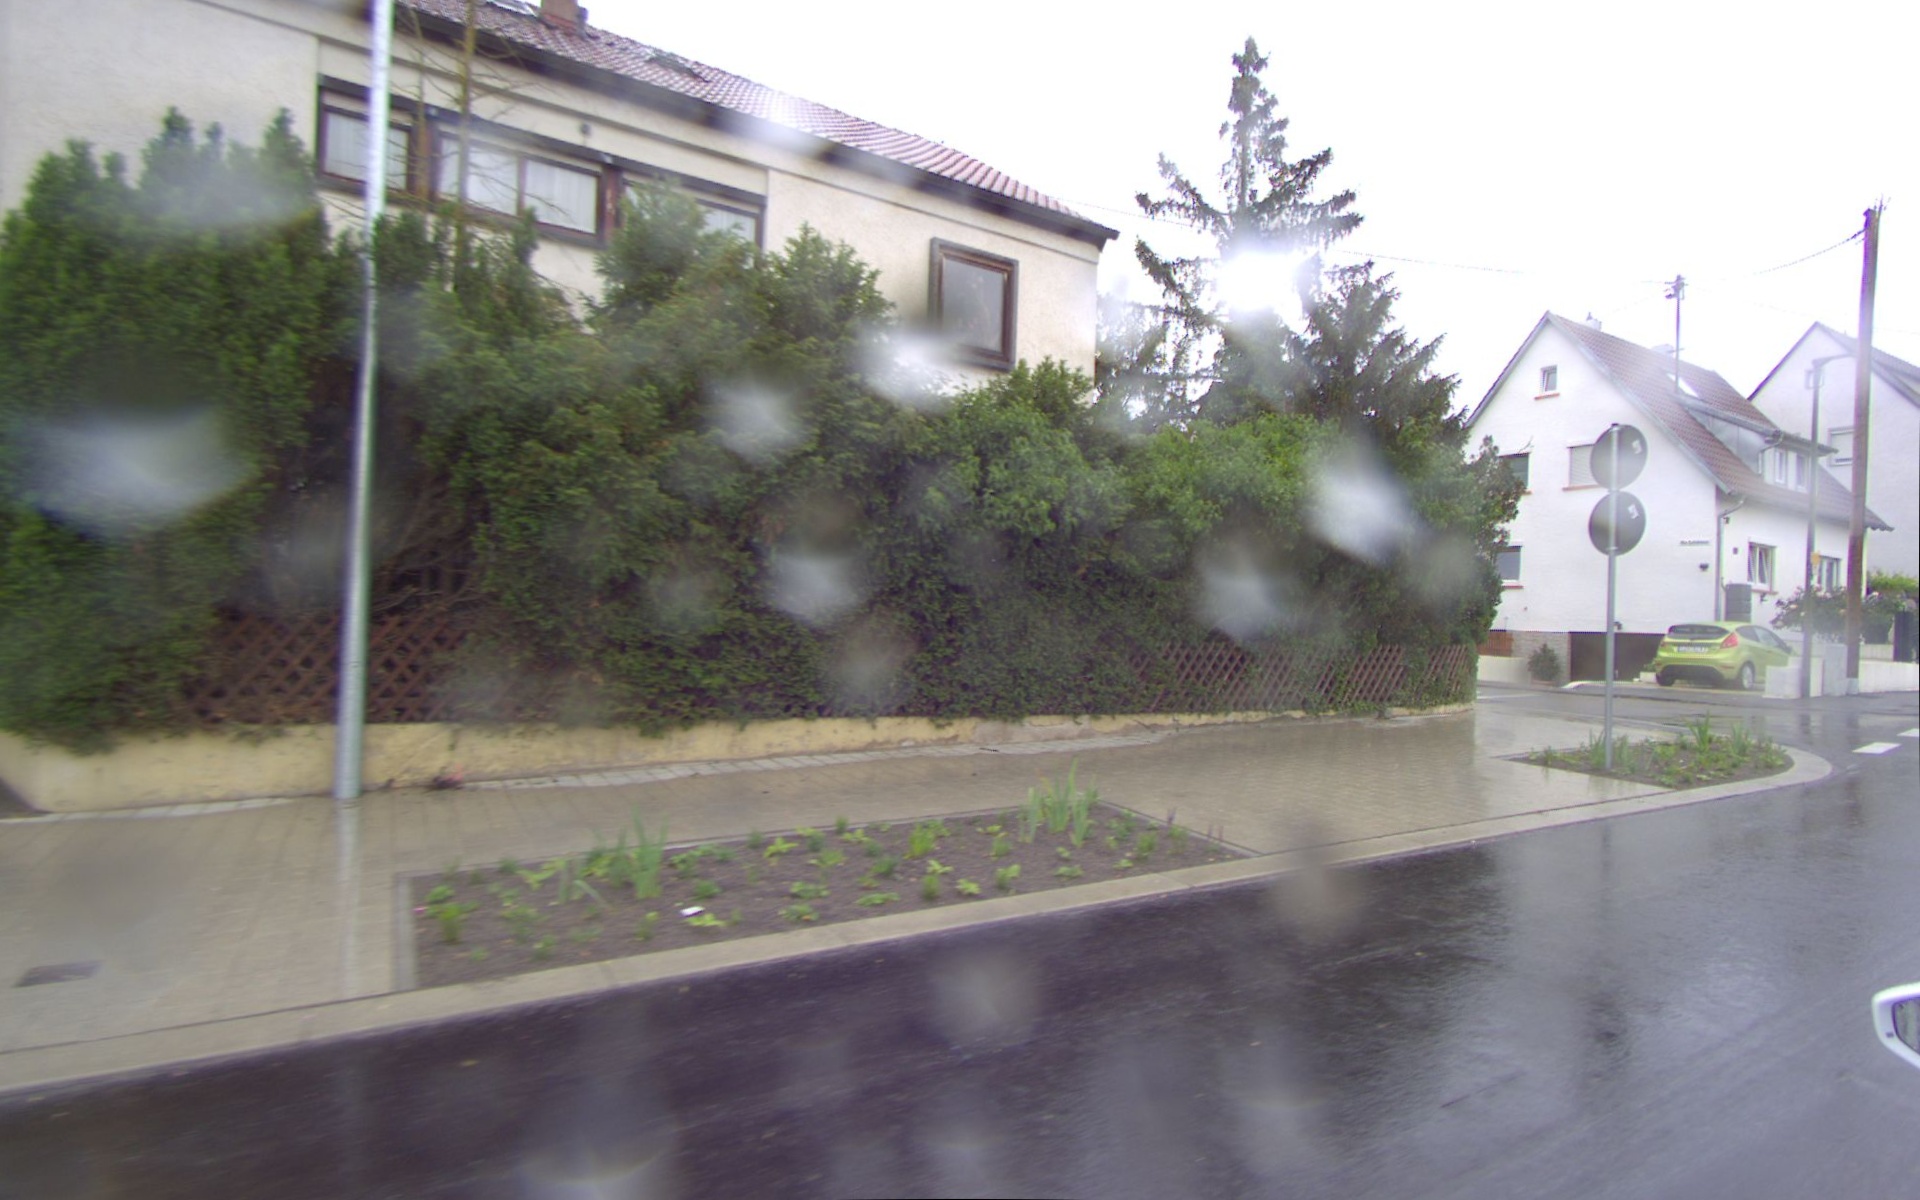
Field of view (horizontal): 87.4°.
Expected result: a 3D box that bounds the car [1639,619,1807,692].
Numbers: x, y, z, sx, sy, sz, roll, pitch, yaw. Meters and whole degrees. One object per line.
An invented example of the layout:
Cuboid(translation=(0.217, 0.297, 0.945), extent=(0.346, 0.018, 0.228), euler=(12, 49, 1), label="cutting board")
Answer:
Cuboid(translation=(17.004, 1.243, 22.377), extent=(3.416, 1.486, 1.771), euler=(3, -1, -29), label="car")
